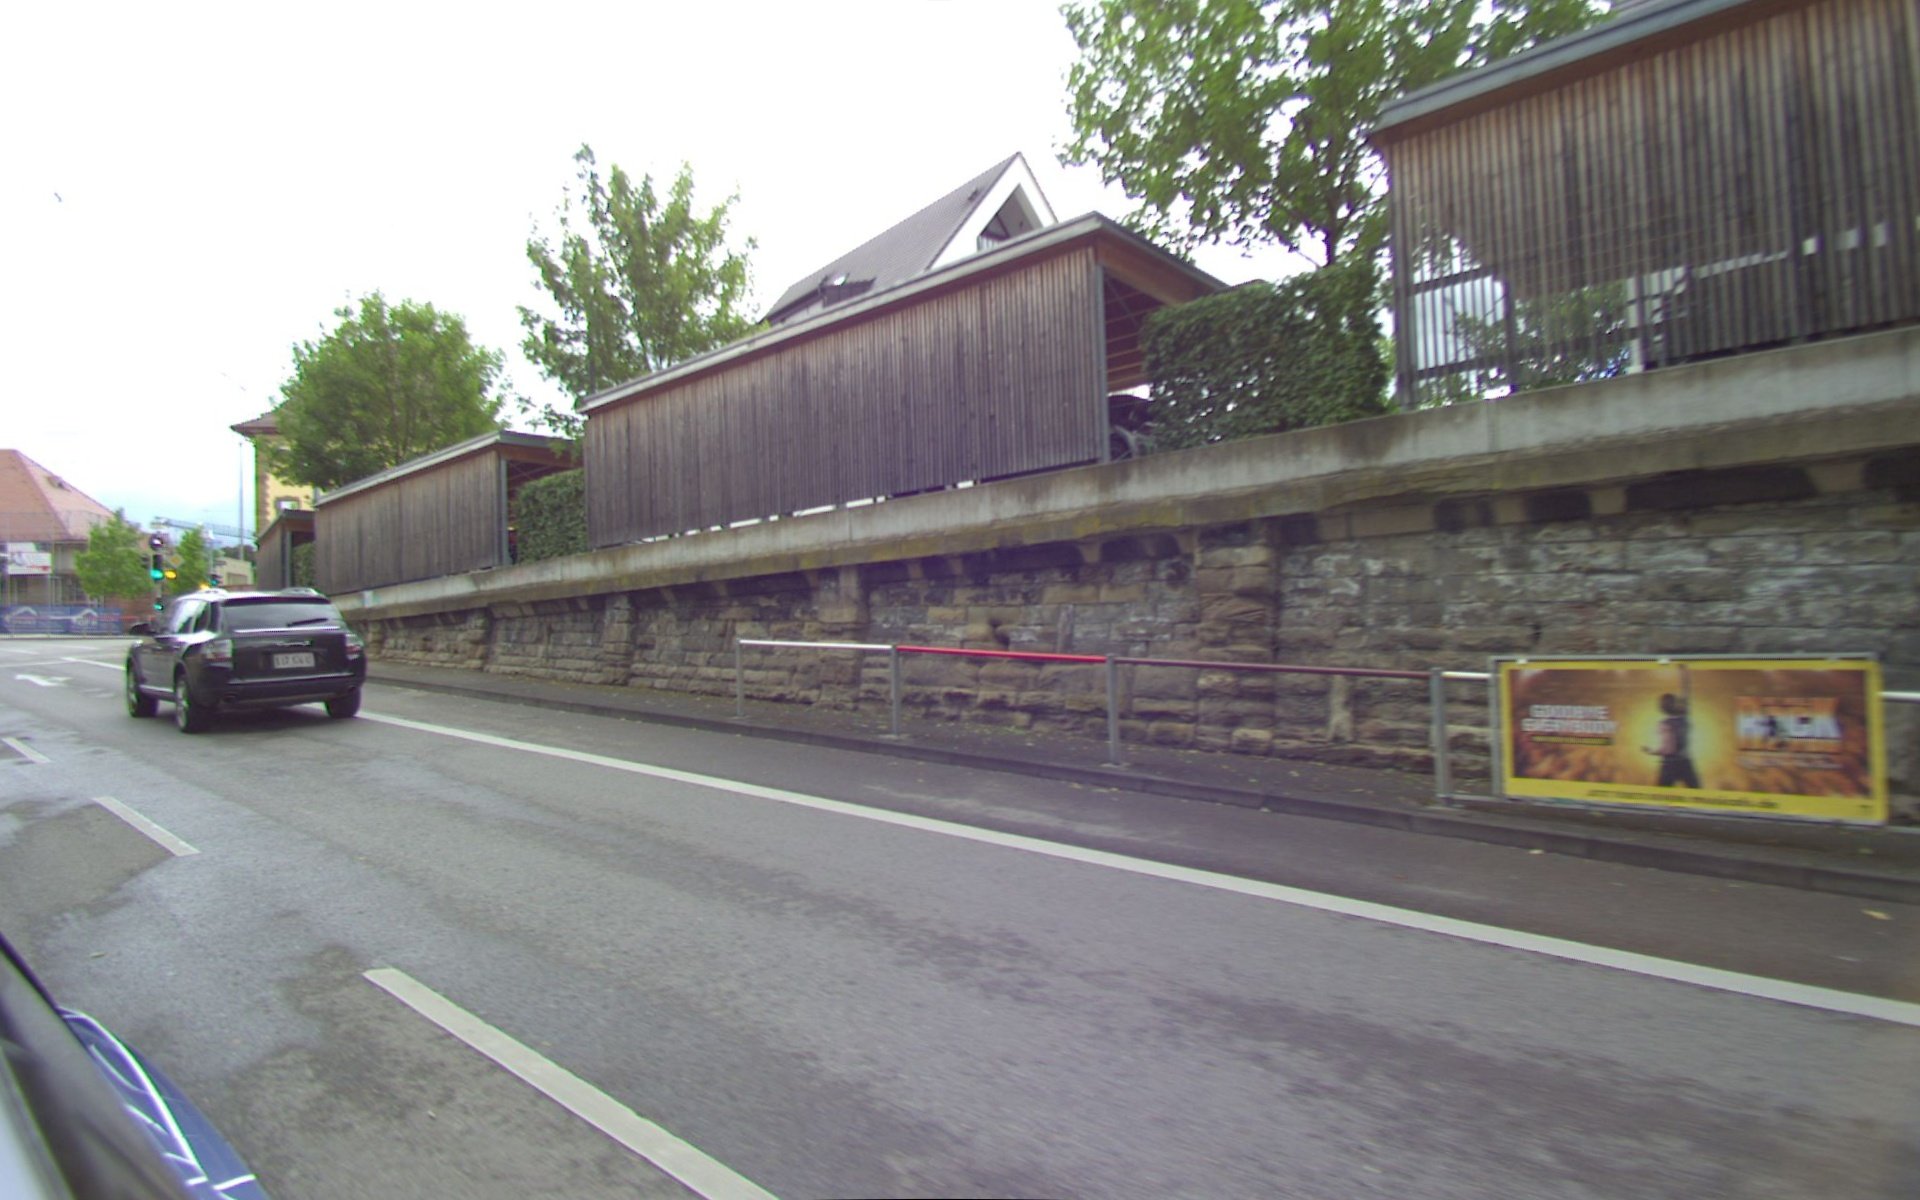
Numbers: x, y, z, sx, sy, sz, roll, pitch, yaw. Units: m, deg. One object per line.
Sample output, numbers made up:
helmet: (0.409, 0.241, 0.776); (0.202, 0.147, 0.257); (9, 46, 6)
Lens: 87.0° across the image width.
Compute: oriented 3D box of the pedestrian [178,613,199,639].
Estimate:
pedestrian: (-51.183, 1.699, 67.169); (0.785, 1.733, 0.928); (0, -1, -11)

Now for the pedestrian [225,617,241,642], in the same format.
pedestrian: (-46.722, 1.880, 65.046); (0.644, 1.589, 0.539); (0, -1, 2)

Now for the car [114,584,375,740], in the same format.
car: (-9.760, 0.736, 13.680); (4.434, 1.770, 1.874); (-1, -1, 41)
